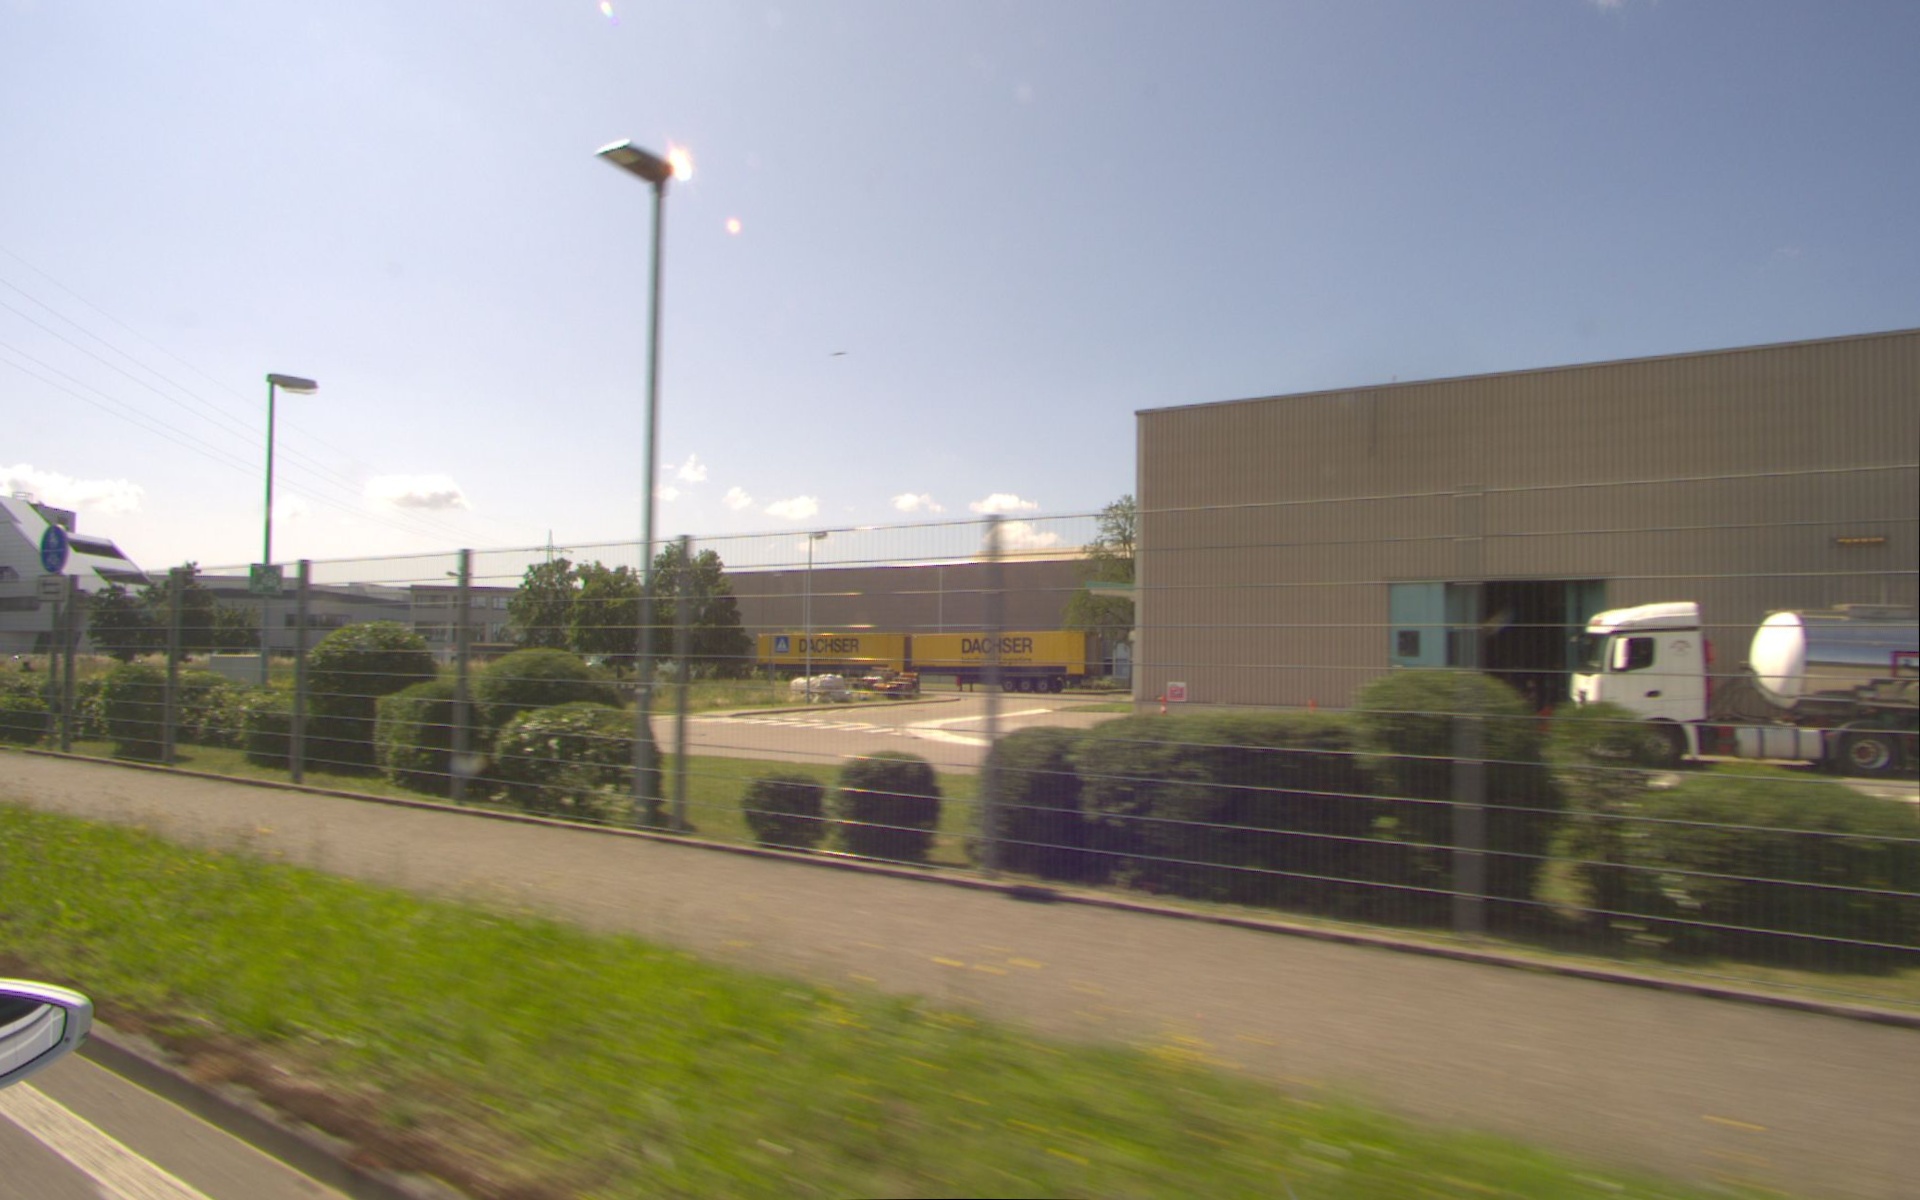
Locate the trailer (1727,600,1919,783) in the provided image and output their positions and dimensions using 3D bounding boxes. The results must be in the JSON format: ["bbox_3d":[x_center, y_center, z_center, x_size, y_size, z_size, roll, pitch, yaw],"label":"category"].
[{"bbox_3d":[23.891,1.955,20.852,12.041,3.783,3.592,0,-2,26],"label":"trailer"}]

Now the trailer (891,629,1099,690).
[{"bbox_3d":[2.238,4.096,70.448,14.826,3.888,2.936,-1,-4,28],"label":"trailer"}]

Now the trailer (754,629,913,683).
[{"bbox_3d":[-9.834,4.243,76.835,12.551,3.812,2.919,0,-3,27],"label":"trailer"}]

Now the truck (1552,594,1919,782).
[{"bbox_3d":[17.951,1.913,23.772,6.302,3.916,3.597,0,-2,24],"label":"truck"}]
